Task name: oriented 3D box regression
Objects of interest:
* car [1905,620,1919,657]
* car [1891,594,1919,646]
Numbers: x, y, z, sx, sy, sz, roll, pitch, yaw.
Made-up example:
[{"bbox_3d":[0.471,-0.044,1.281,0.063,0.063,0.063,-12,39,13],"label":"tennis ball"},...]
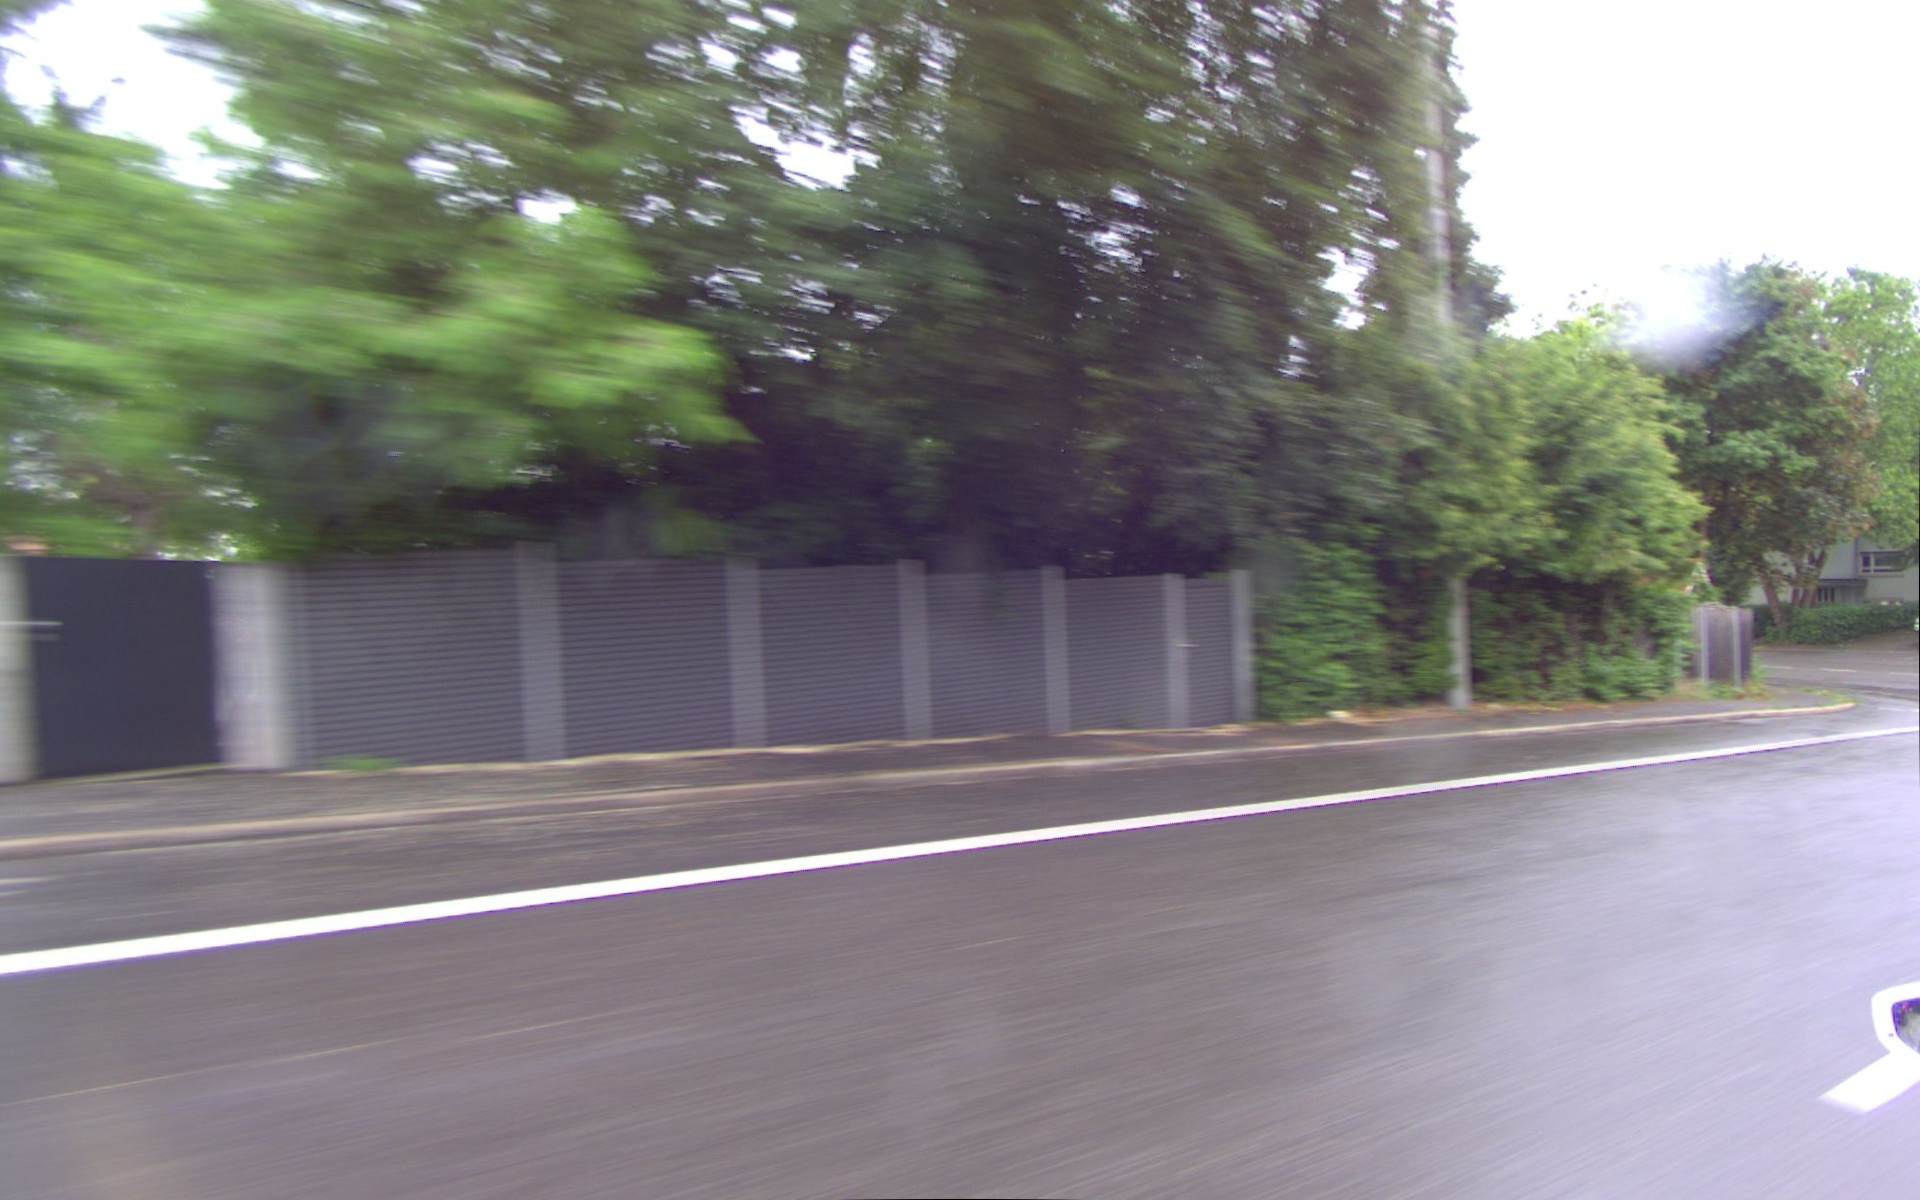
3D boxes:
[{"bbox_3d":[36.615,1.323,35.862,1.751,1.385,4.197,-3,-3,0],"label":"car"},{"bbox_3d":[41.098,0.428,40.660,4.341,1.863,1.996,-15,-5,29],"label":"car"}]
